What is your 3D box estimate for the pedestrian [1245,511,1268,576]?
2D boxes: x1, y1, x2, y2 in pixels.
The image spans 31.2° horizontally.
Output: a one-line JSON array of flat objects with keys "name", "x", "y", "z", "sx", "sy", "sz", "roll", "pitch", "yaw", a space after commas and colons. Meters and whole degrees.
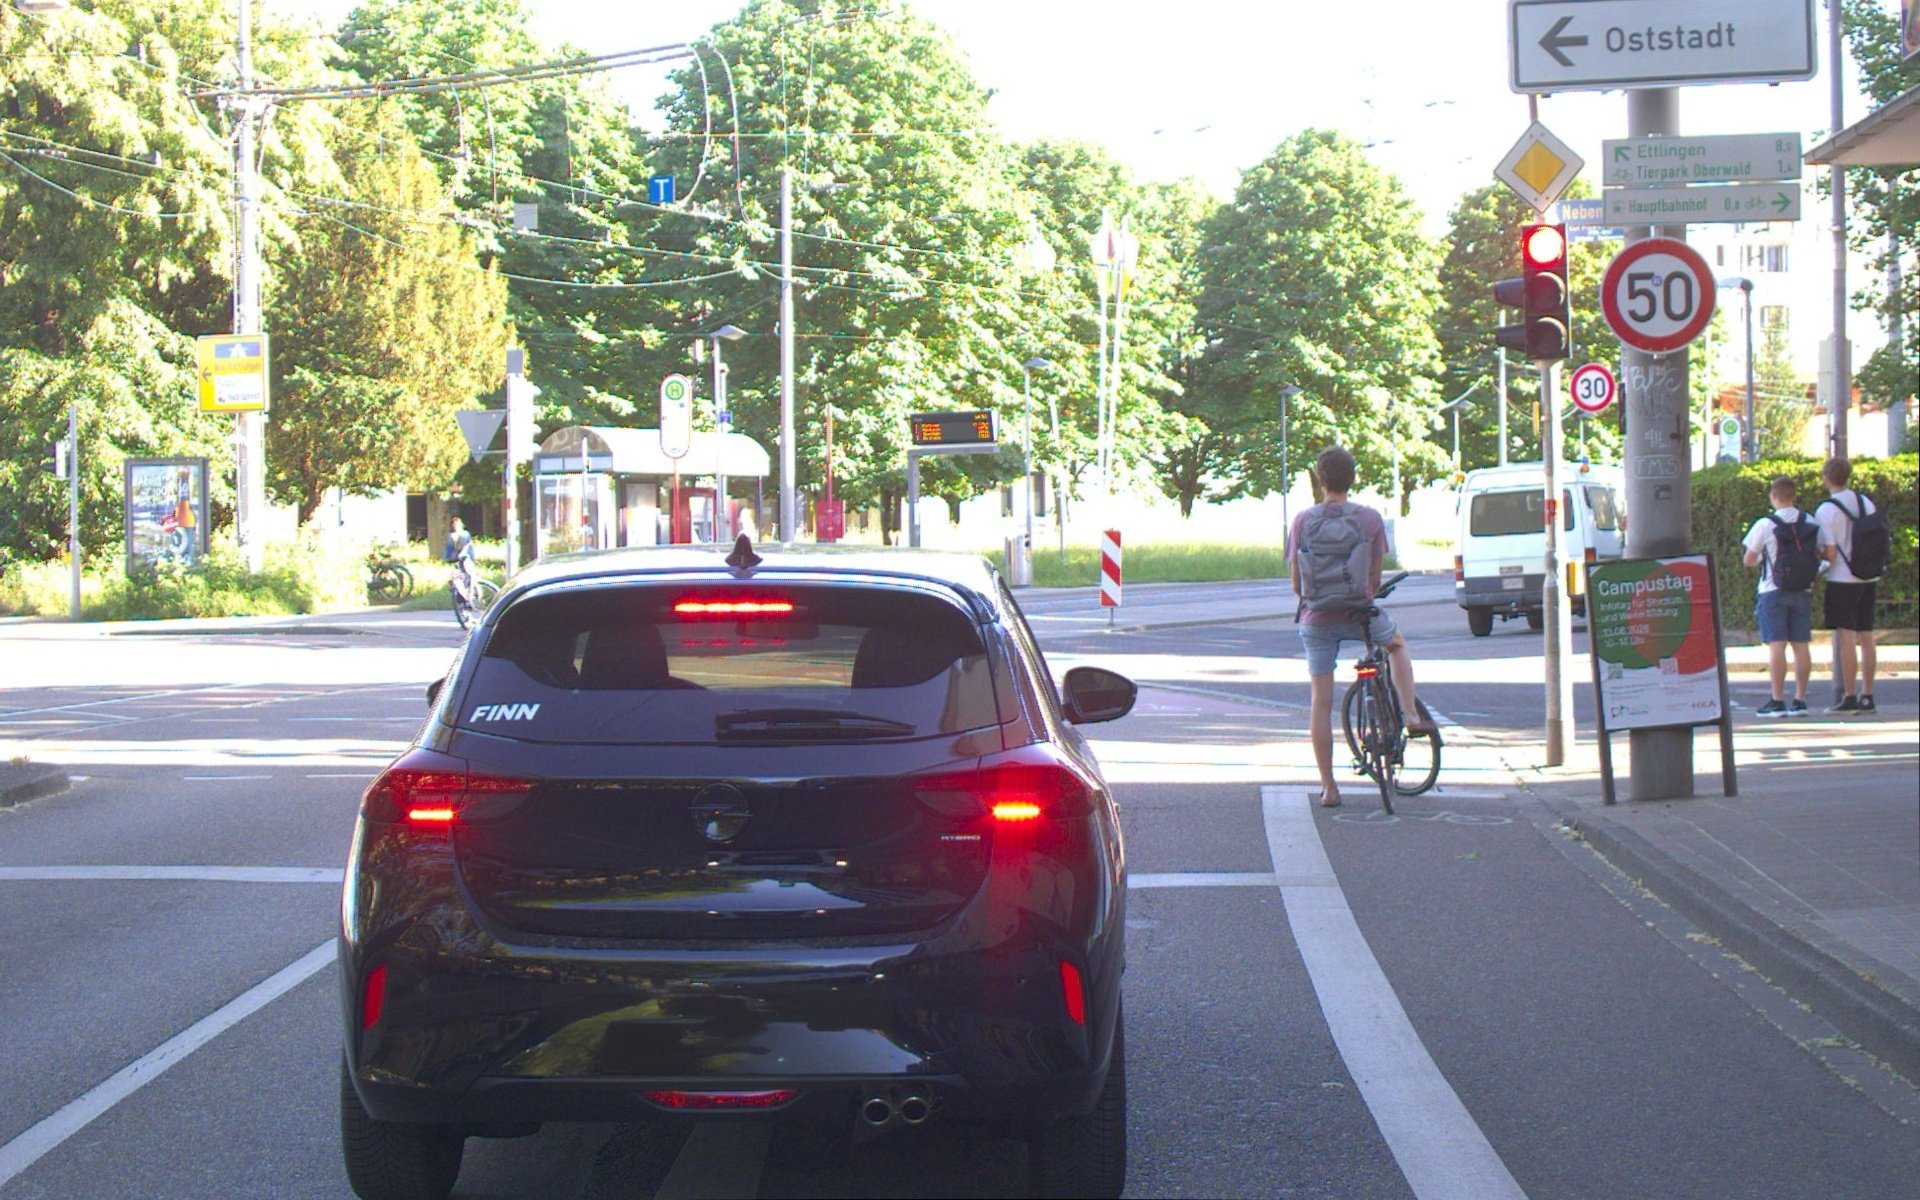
[{"name": "pedestrian", "x": 8.575, "y": -1.645, "z": 99.453, "sx": 0.604, "sy": 1.865, "sz": 0.519, "roll": 1, "pitch": 0, "yaw": 7}]

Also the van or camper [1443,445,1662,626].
[{"name": "van or camper", "x": 8.040, "y": -0.847, "z": 46.304, "sx": 2.031, "sy": 2.302, "sz": 4.535, "roll": 1, "pitch": 1, "yaw": 21}]

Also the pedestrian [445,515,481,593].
[{"name": "pedestrian", "x": -9.362, "y": -0.870, "z": 64.773, "sx": 0.570, "sy": 1.467, "sz": 0.666, "roll": -1, "pitch": 1, "yaw": -1}]

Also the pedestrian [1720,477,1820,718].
[{"name": "pedestrian", "x": 6.019, "y": -0.024, "z": 25.530, "sx": 0.633, "sy": 1.757, "sz": 0.582, "roll": 1, "pitch": 0, "yaw": 20}]

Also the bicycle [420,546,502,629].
[{"name": "bicycle", "x": -6.700, "y": -0.176, "z": 46.262, "sx": 0.796, "sy": 1.061, "sz": 2.185, "roll": 0, "pitch": 1, "yaw": -1}]

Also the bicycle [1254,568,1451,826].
[{"name": "bicycle", "x": 2.071, "y": 0.467, "z": 17.904, "sx": 0.753, "sy": 1.231, "sz": 2.014, "roll": 0, "pitch": 1, "yaw": 14}]

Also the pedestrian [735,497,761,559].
[{"name": "pedestrian", "x": -6.478, "y": -2.205, "z": 105.020, "sx": 0.737, "sy": 1.865, "sz": 0.662, "roll": 1, "pitch": 0, "yaw": -6}]

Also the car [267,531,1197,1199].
[{"name": "car", "x": -0.474, "y": 0.563, "z": 8.811, "sx": 1.840, "sy": 1.457, "sz": 3.984, "roll": 0, "pitch": 1, "yaw": -1}]

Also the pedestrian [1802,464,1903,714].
[{"name": "pedestrian", "x": 6.616, "y": -0.087, "z": 25.483, "sx": 0.633, "sy": 1.814, "sz": 0.744, "roll": 1, "pitch": 0, "yaw": 20}]

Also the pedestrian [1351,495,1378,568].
[{"name": "pedestrian", "x": 10.424, "y": -1.758, "z": 88.620, "sx": 0.603, "sy": 1.865, "sz": 0.519, "roll": 1, "pitch": 0, "yaw": -1}]

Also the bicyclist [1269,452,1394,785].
[{"name": "bicyclist", "x": 1.922, "y": 0.087, "z": 17.738, "sx": 0.534, "sy": 1.686, "sz": 0.567, "roll": 0, "pitch": 1, "yaw": 17}]
